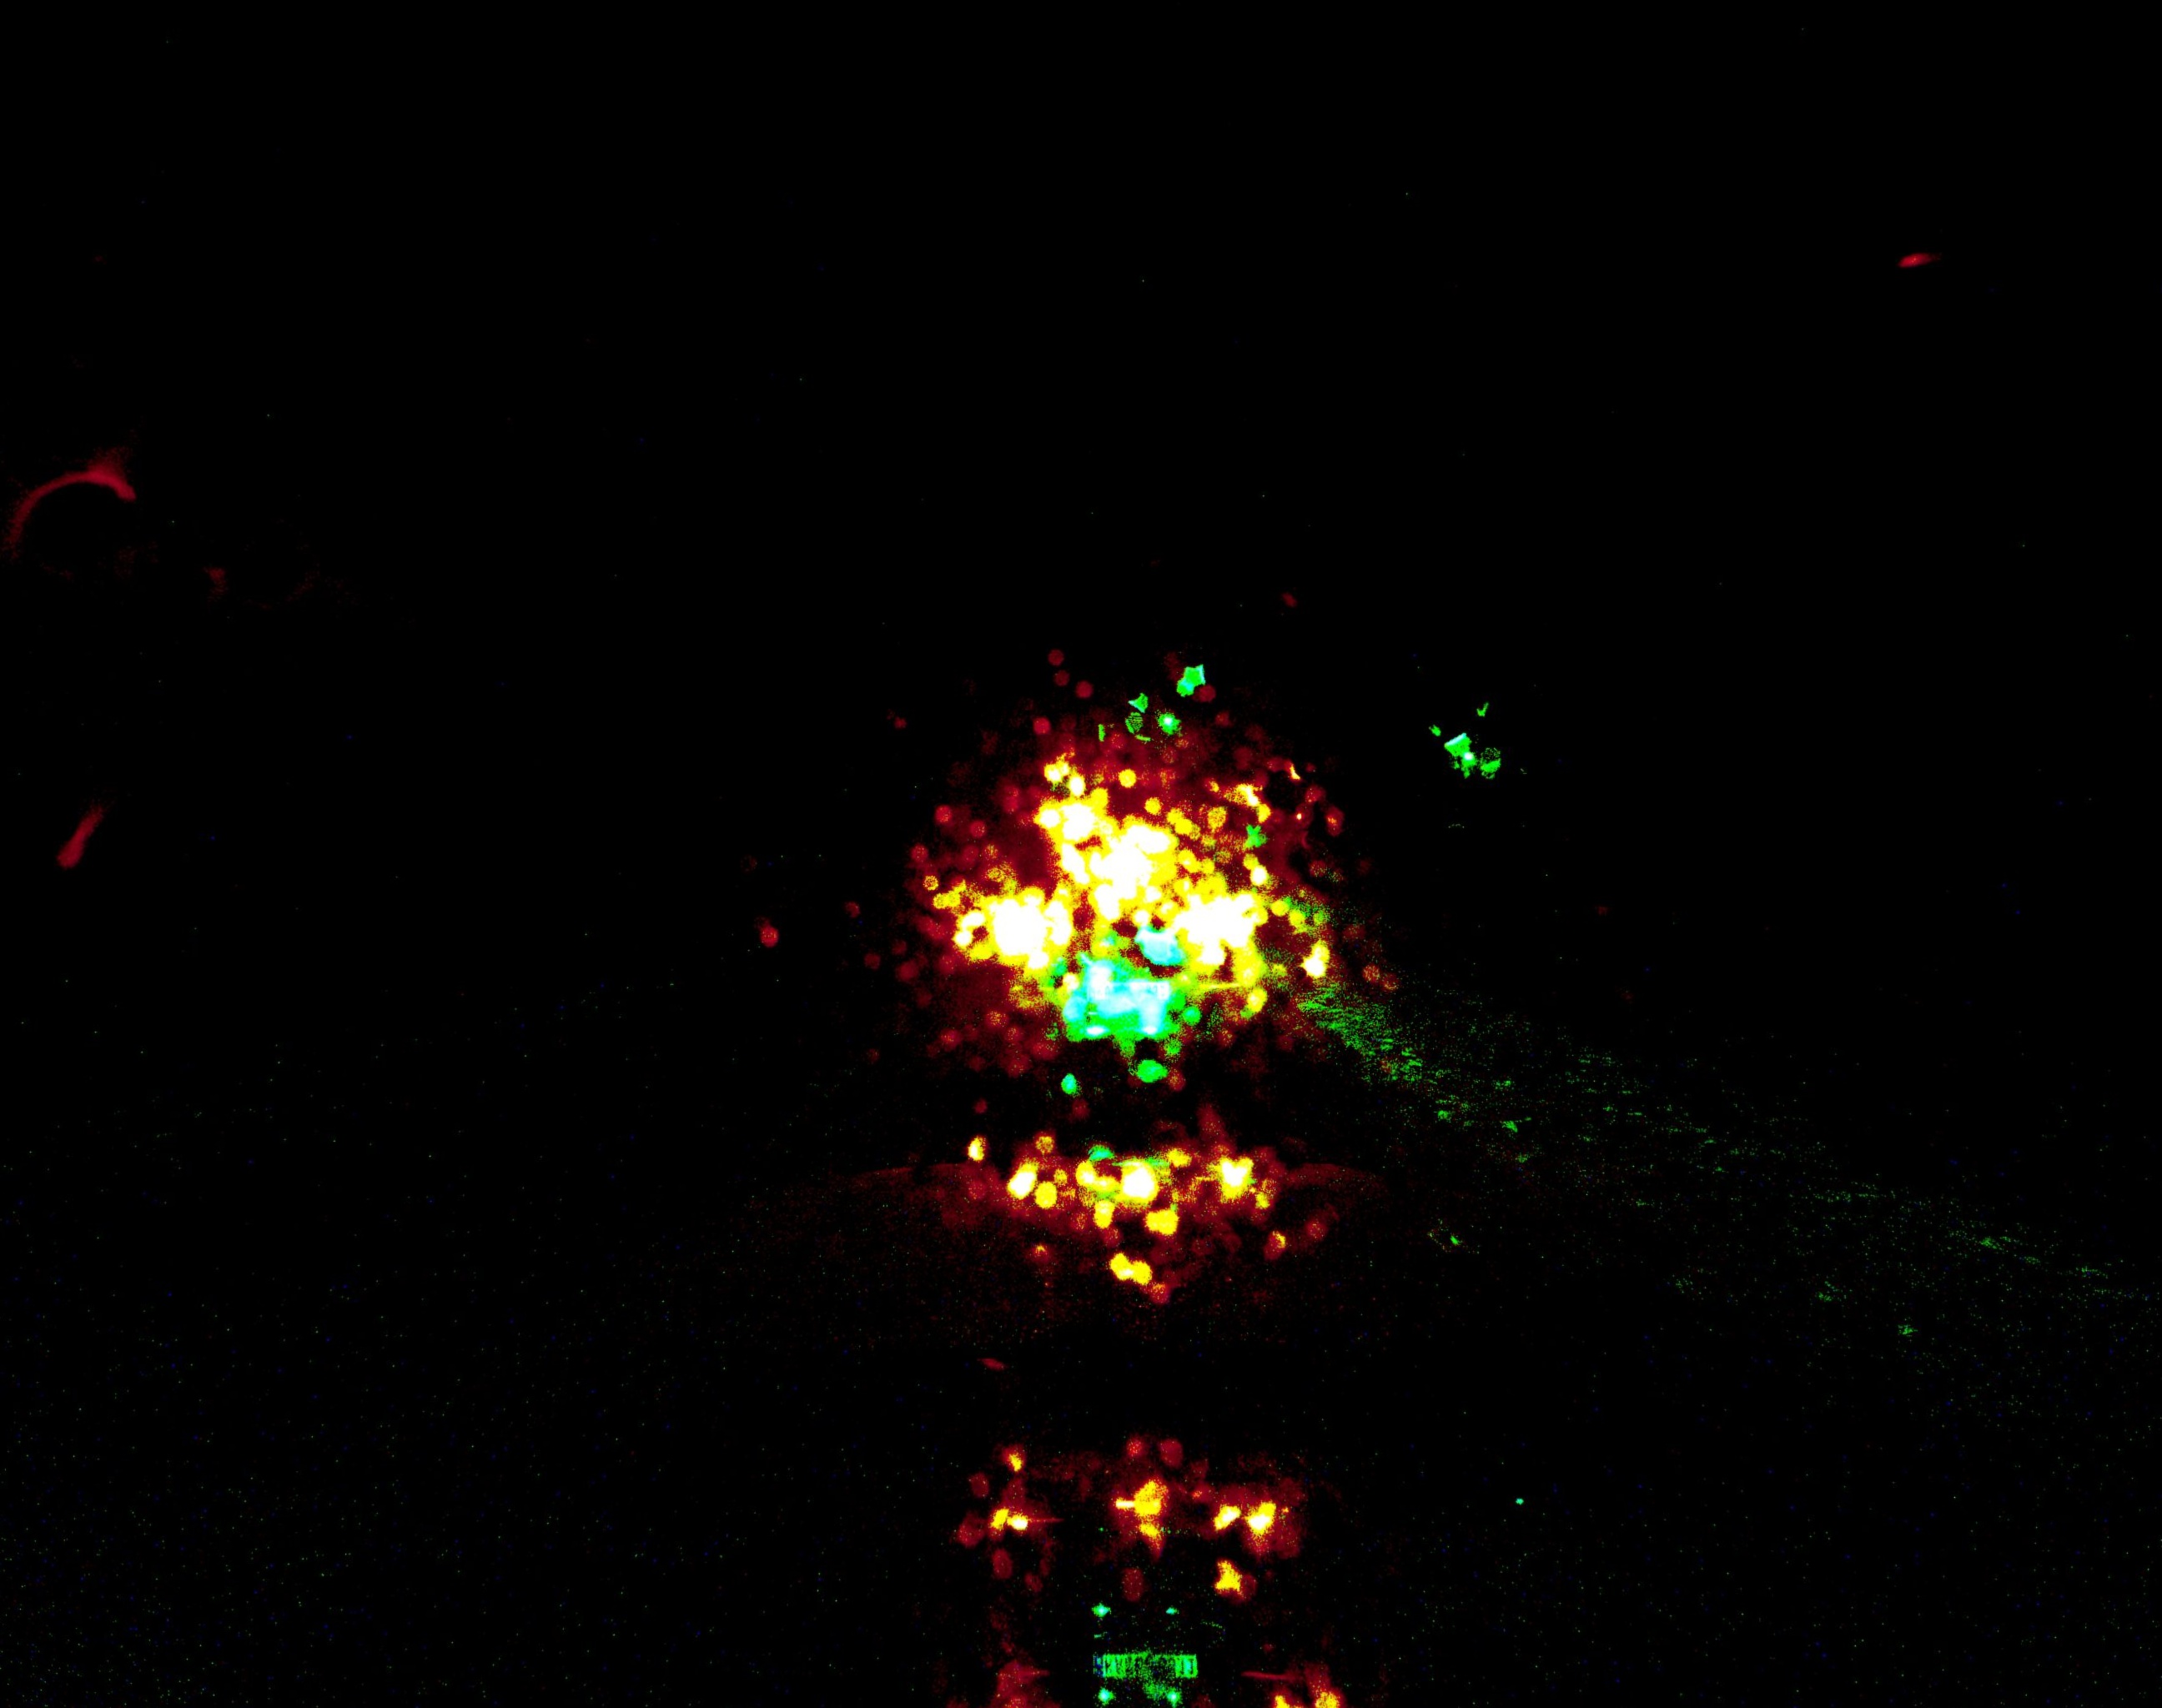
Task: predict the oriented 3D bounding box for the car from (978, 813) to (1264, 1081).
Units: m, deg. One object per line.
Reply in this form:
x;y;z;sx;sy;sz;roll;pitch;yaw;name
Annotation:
0.356;0.582;7.132;1.783;1.681;3.908;-1;0;3;car

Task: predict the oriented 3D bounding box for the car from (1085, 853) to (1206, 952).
1.138;0.721;14.047;1.735;1.415;4.006;-2;0;5;car
